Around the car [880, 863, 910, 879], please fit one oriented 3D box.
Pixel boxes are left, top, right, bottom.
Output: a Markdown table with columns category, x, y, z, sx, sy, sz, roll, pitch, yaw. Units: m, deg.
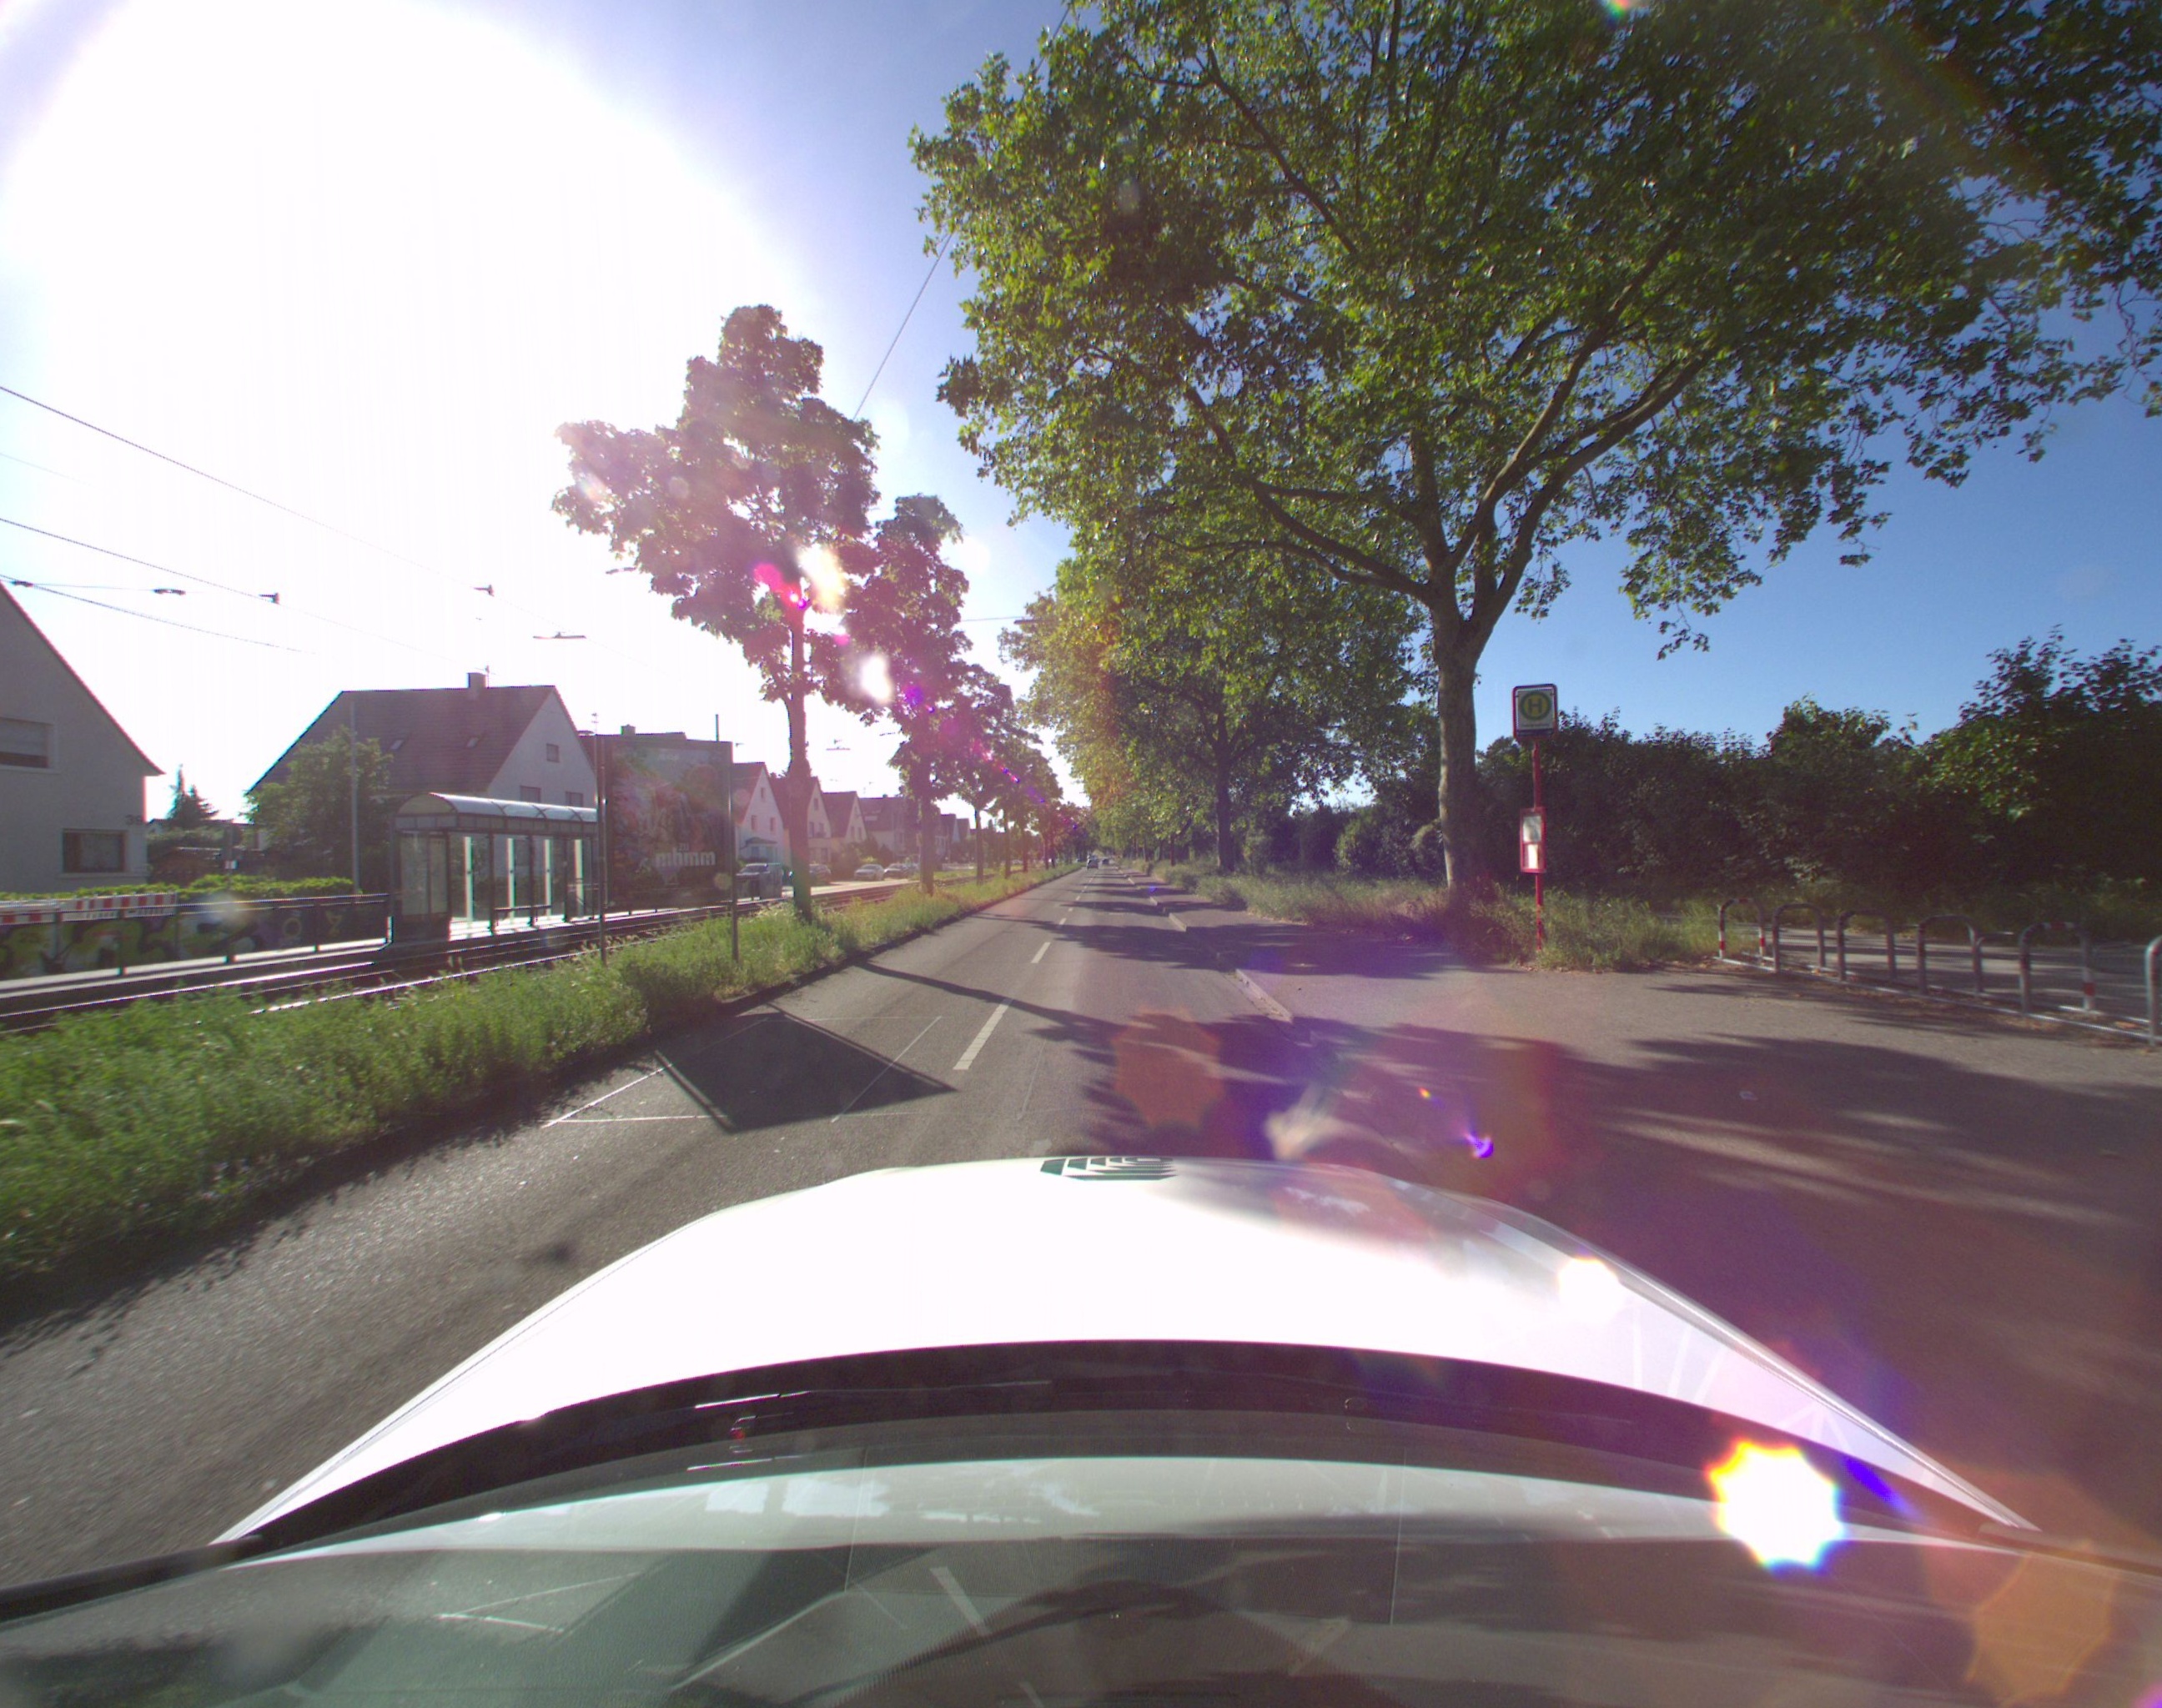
| category | x | y | z | sx | sy | sz | roll | pitch | yaw |
| --- | --- | --- | --- | --- | --- | --- | --- | --- | --- |
| car | -18.663 | 1.712 | 81.911 | 1.986 | 1.450 | 4.129 | 2 | -1 | 2 |

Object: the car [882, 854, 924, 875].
| category | x | y | z | sx | sy | sz | roll | pitch | yaw |
| --- | --- | --- | --- | --- | --- | --- | --- | --- | --- |
| car | -23.519 | 1.333 | 107.869 | 5.010 | 2.625 | 2.103 | -1 | 0 | 1 |

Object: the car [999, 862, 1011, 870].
| category | x | y | z | sx | sy | sz | roll | pitch | yaw |
| --- | --- | --- | --- | --- | --- | --- | --- | --- | --- |
| car | -15.898 | 2.482 | 170.463 | 1.853 | 1.542 | 4.229 | 0 | -1 | 1 |

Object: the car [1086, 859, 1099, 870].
| category | x | y | z | sx | sy | sz | roll | pitch | yaw |
| --- | --- | --- | --- | --- | --- | --- | --- | --- | --- |
| car | 1.650 | 1.493 | 118.001 | 1.853 | 1.601 | 4.229 | 0 | -1 | 1 |

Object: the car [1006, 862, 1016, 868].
| category | x | y | z | sx | sy | sz | roll | pitch | yaw |
| --- | --- | --- | --- | --- | --- | --- | --- | --- | --- |
| car | -15.444 | 2.419 | 179.506 | 1.723 | 1.466 | 4.603 | 0 | -1 | 1 |

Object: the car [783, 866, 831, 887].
| category | x | y | z | sx | sy | sz | roll | pitch | yaw |
| --- | --- | --- | --- | --- | --- | --- | --- | --- | --- |
| car | -19.726 | 1.595 | 58.815 | 1.919 | 1.495 | 4.257 | 0 | -1 | 2 |

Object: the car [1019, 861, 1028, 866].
| category | x | y | z | sx | sy | sz | roll | pitch | yaw |
| --- | --- | --- | --- | --- | --- | --- | --- | --- | --- |
| car | -14.796 | 2.505 | 210.203 | 1.853 | 1.370 | 4.229 | 0 | -1 | 1 |

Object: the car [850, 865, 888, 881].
| category | x | y | z | sx | sy | sz | roll | pitch | yaw |
| --- | --- | --- | --- | --- | --- | --- | --- | --- | --- |
| car | -18.895 | 1.672 | 72.829 | 1.985 | 1.426 | 4.414 | 0 | -1 | 3 |

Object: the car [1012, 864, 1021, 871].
| category | x | y | z | sx | sy | sz | roll | pitch | yaw |
| --- | --- | --- | --- | --- | --- | --- | --- | --- | --- |
| car | -15.095 | 3.192 | 190.482 | 1.741 | 1.651 | 4.556 | 0 | -1 | 1 |

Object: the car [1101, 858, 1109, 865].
| category | x | y | z | sx | sy | sz | roll | pitch | yaw |
| --- | --- | --- | --- | --- | --- | --- | --- | --- | --- |
| car | 5.612 | 1.763 | 190.463 | 1.986 | 1.603 | 4.474 | 0 | -1 | 1 |

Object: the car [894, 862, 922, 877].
| category | x | y | z | sx | sy | sz | roll | pitch | yaw |
| --- | --- | --- | --- | --- | --- | --- | --- | --- | --- |
| car | -18.384 | 1.677 | 86.689 | 1.939 | 1.553 | 4.058 | 0 | -1 | 2 |
